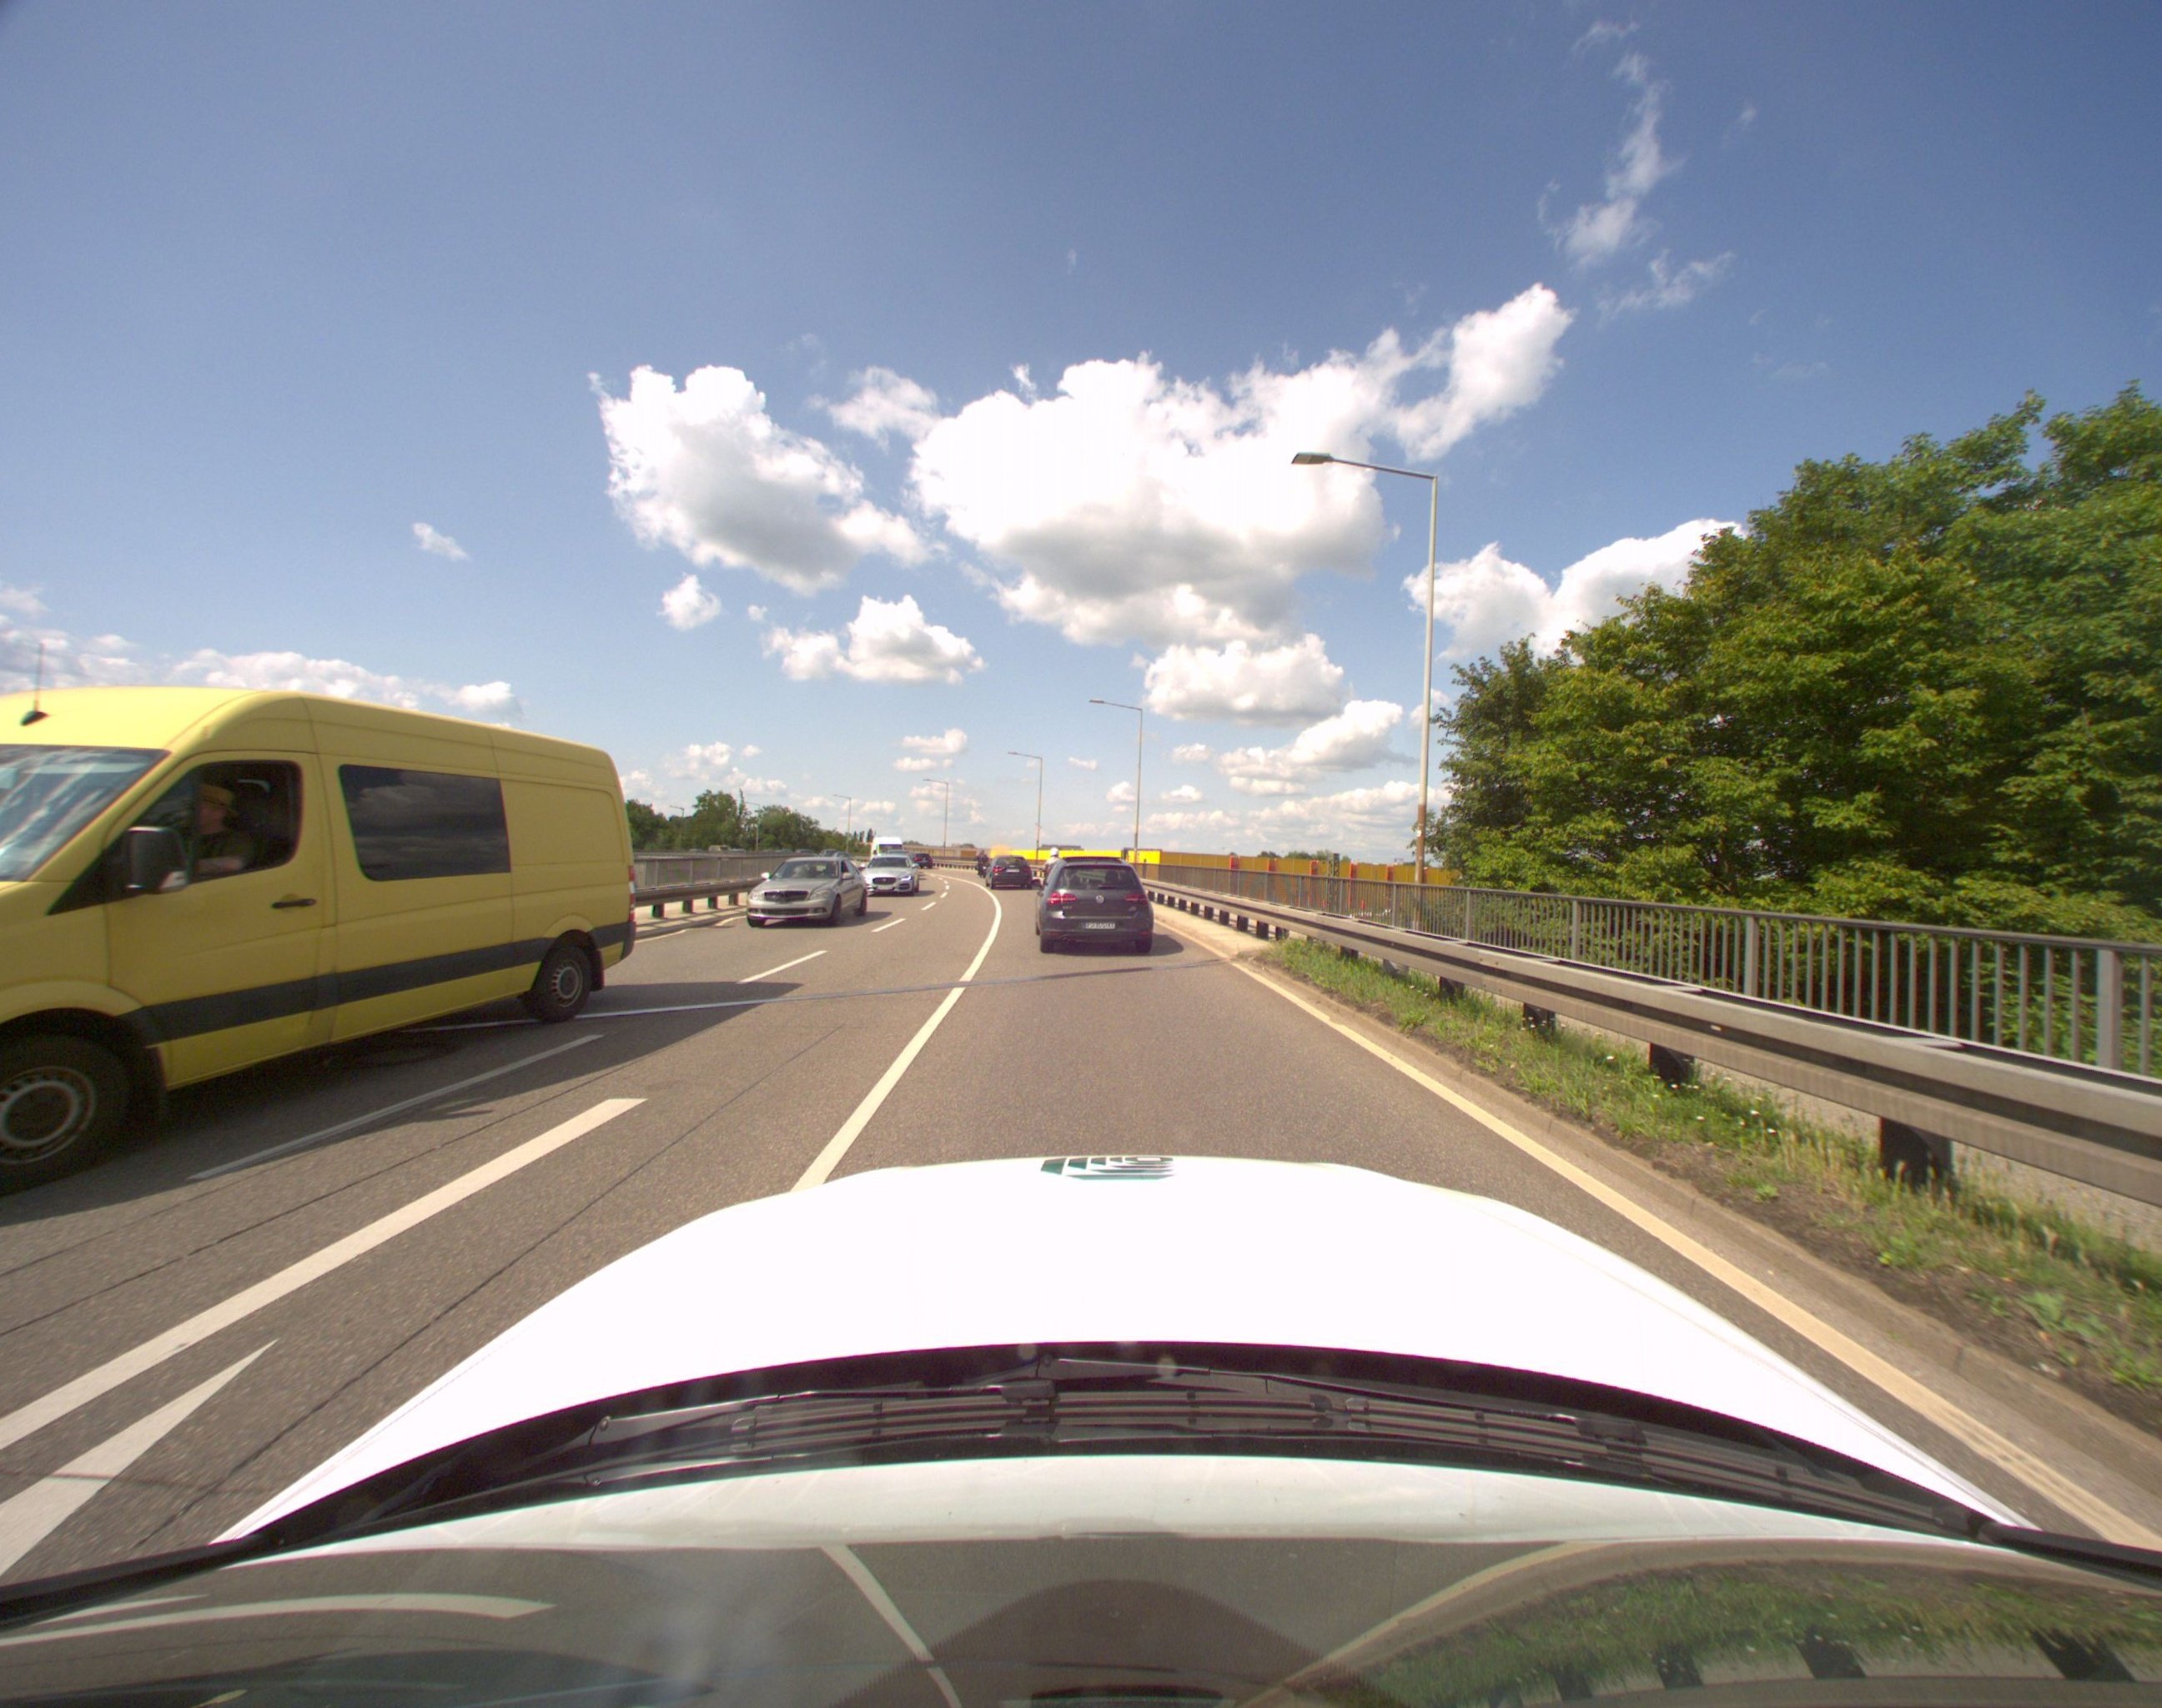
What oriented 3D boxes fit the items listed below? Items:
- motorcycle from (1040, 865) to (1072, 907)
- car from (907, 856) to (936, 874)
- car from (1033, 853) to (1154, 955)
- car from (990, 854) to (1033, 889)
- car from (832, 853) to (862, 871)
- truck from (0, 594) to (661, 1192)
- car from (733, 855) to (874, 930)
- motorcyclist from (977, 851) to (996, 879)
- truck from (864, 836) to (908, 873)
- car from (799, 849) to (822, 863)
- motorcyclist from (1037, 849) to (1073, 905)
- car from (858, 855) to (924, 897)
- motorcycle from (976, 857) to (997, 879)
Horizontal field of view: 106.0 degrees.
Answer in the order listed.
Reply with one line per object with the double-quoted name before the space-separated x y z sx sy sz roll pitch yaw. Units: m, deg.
"motorcycle" -0.762 0.921 24.254 0.788 1.132 2.395 1 0 -5
"car" -14.111 0.961 71.887 1.650 1.479 3.842 1 -1 -24
"car" 0.073 0.744 13.798 1.640 1.479 3.865 1 -1 -5
"car" -2.955 0.744 34.233 1.680 1.388 3.730 0 -1 -6
"car" -22.386 0.750 77.857 1.694 1.596 4.241 -1 1 -30
"truck" -5.677 0.169 5.865 1.986 2.621 6.105 -1 0 1
"car" -5.905 0.747 17.906 1.743 1.449 4.333 0 0 -2
"motorcyclist" -5.604 0.659 48.158 0.967 1.596 1.119 1 0 -15
"truck" -14.048 0.004 58.494 2.003 2.507 5.900 0 0 -24
"car" -30.642 0.207 92.233 1.694 1.596 4.241 -1 1 -30
"motorcyclist" -0.794 0.680 24.367 0.964 1.620 1.123 1 0 -6
"car" -6.753 0.742 29.317 1.792 1.375 4.569 0 0 -7
"motorcycle" -5.612 0.834 48.197 0.889 1.247 2.386 1 0 -16
